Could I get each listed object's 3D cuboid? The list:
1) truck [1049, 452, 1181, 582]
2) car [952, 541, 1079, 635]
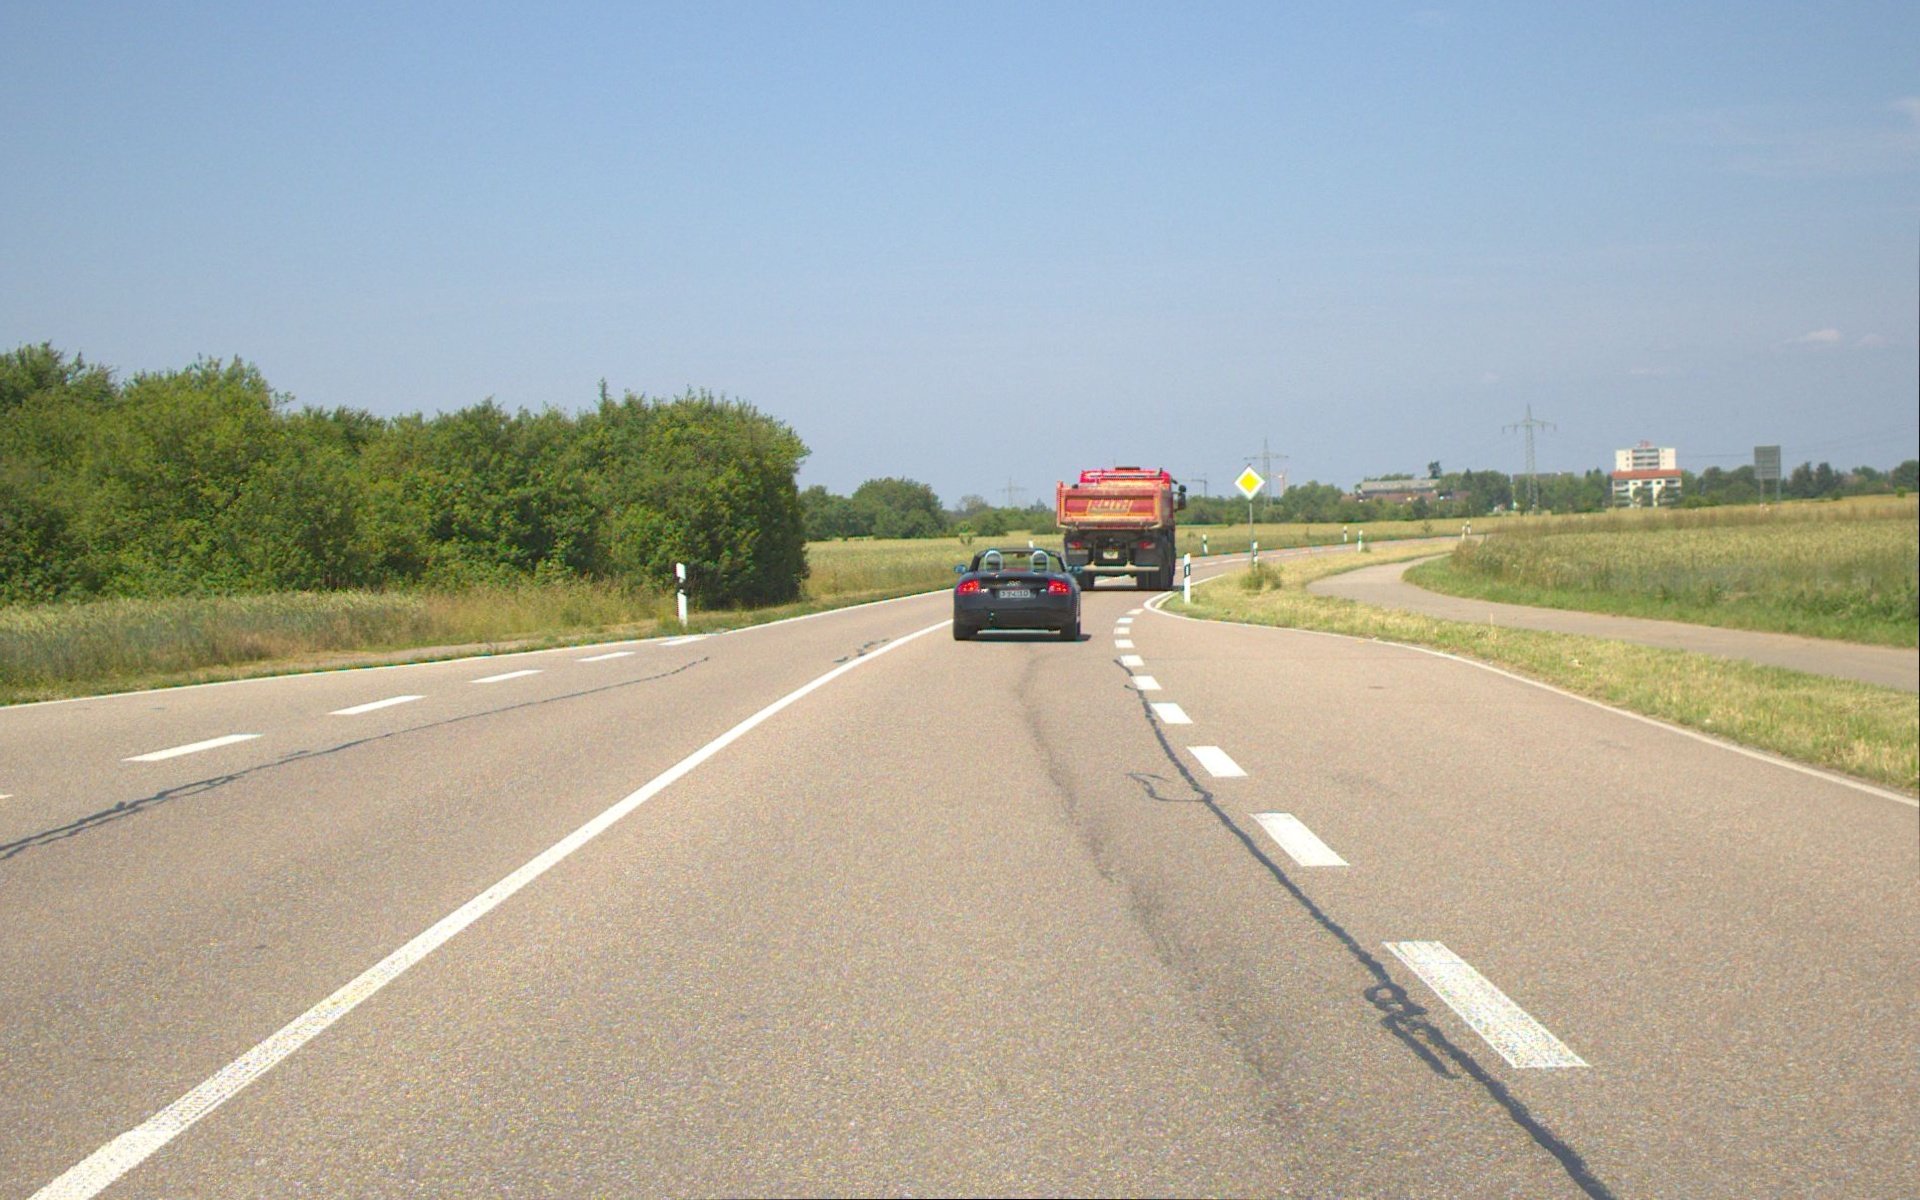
[{"bbox_3d":[3.945,-2.045,86.014,2.938,3.078,7.195,-1,1,5],"label":"truck"},{"bbox_3d":[0.763,-0.202,49.162,1.744,1.275,4.000,0,1,0],"label":"car"}]
